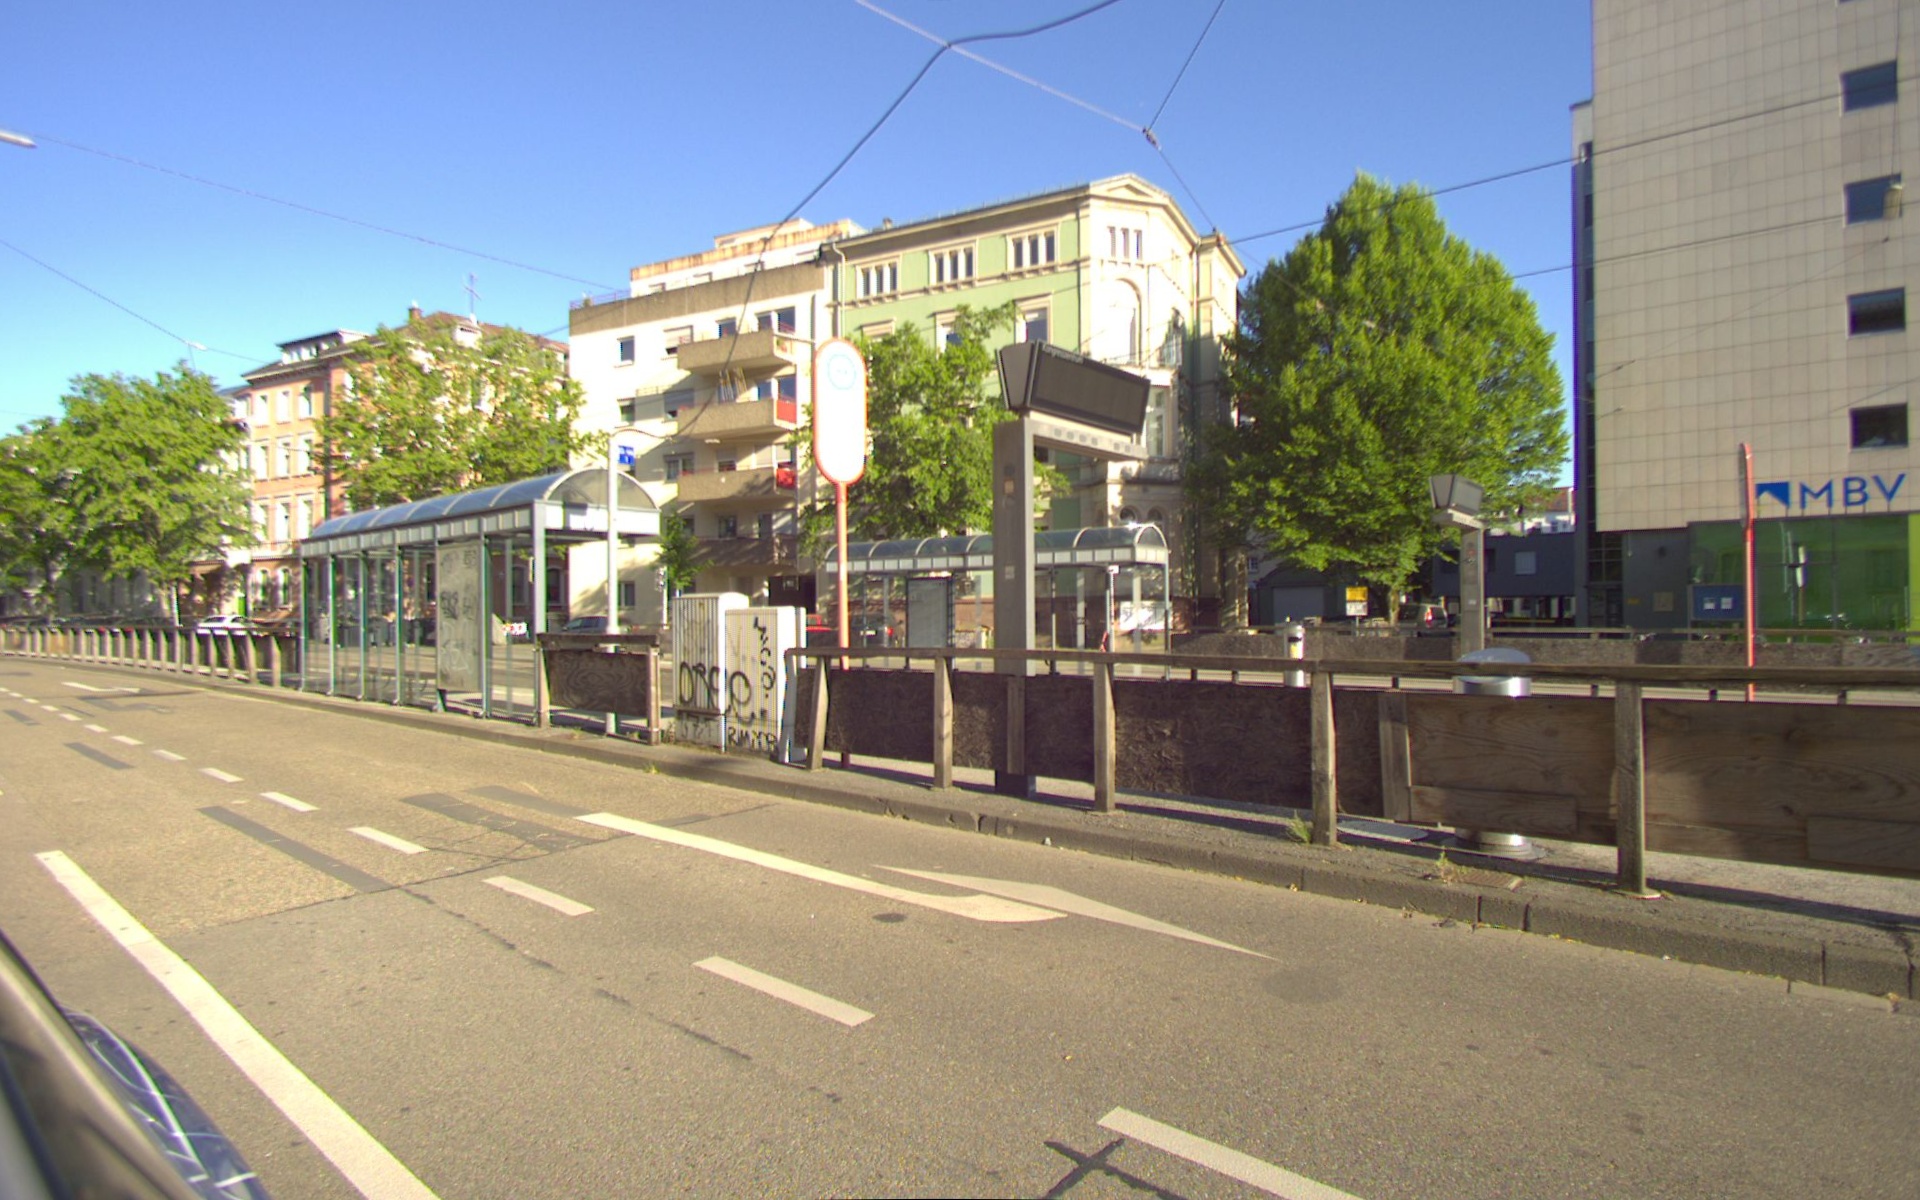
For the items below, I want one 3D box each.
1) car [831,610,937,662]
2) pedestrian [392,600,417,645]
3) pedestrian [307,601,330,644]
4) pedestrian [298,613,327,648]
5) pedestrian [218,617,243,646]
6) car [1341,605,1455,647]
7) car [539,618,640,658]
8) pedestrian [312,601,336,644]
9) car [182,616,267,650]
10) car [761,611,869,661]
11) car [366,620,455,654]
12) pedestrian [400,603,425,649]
[{"bbox_3d":[-2.441,1.168,33.479,1.754,1.594,3.965,-1,-1,26],"label":"car"},{"bbox_3d":[-27.835,1.109,50.710,0.753,2.224,0.804,-1,-2,30],"label":"pedestrian"},{"bbox_3d":[-34.149,1.191,53.852,0.755,2.224,0.803,-1,-2,36],"label":"pedestrian"},{"bbox_3d":[-32.102,1.515,50.171,1.016,1.733,0.846,-1,-2,32],"label":"pedestrian"},{"bbox_3d":[-42.531,1.836,58.989,0.887,1.641,0.861,-1,-2,25],"label":"pedestrian"},{"bbox_3d":[15.740,0.893,36.493,1.544,1.423,3.430,-1,0,-38],"label":"car"},{"bbox_3d":[-14.145,1.427,38.600,3.725,1.438,1.637,-1,-1,29],"label":"car"},{"bbox_3d":[-33.176,1.178,52.801,0.753,2.224,0.804,-1,-2,30],"label":"pedestrian"},{"bbox_3d":[-39.425,1.756,54.345,1.825,1.721,4.130,0,-1,-5],"label":"car"},{"bbox_3d":[-4.875,1.199,34.527,1.754,1.594,3.965,-1,-1,26],"label":"car"},{"bbox_3d":[-23.743,1.587,43.686,3.986,1.407,1.592,-1,-2,32],"label":"car"},{"bbox_3d":[-27.119,1.293,50.127,0.753,2.224,0.804,-1,-2,30],"label":"pedestrian"}]
